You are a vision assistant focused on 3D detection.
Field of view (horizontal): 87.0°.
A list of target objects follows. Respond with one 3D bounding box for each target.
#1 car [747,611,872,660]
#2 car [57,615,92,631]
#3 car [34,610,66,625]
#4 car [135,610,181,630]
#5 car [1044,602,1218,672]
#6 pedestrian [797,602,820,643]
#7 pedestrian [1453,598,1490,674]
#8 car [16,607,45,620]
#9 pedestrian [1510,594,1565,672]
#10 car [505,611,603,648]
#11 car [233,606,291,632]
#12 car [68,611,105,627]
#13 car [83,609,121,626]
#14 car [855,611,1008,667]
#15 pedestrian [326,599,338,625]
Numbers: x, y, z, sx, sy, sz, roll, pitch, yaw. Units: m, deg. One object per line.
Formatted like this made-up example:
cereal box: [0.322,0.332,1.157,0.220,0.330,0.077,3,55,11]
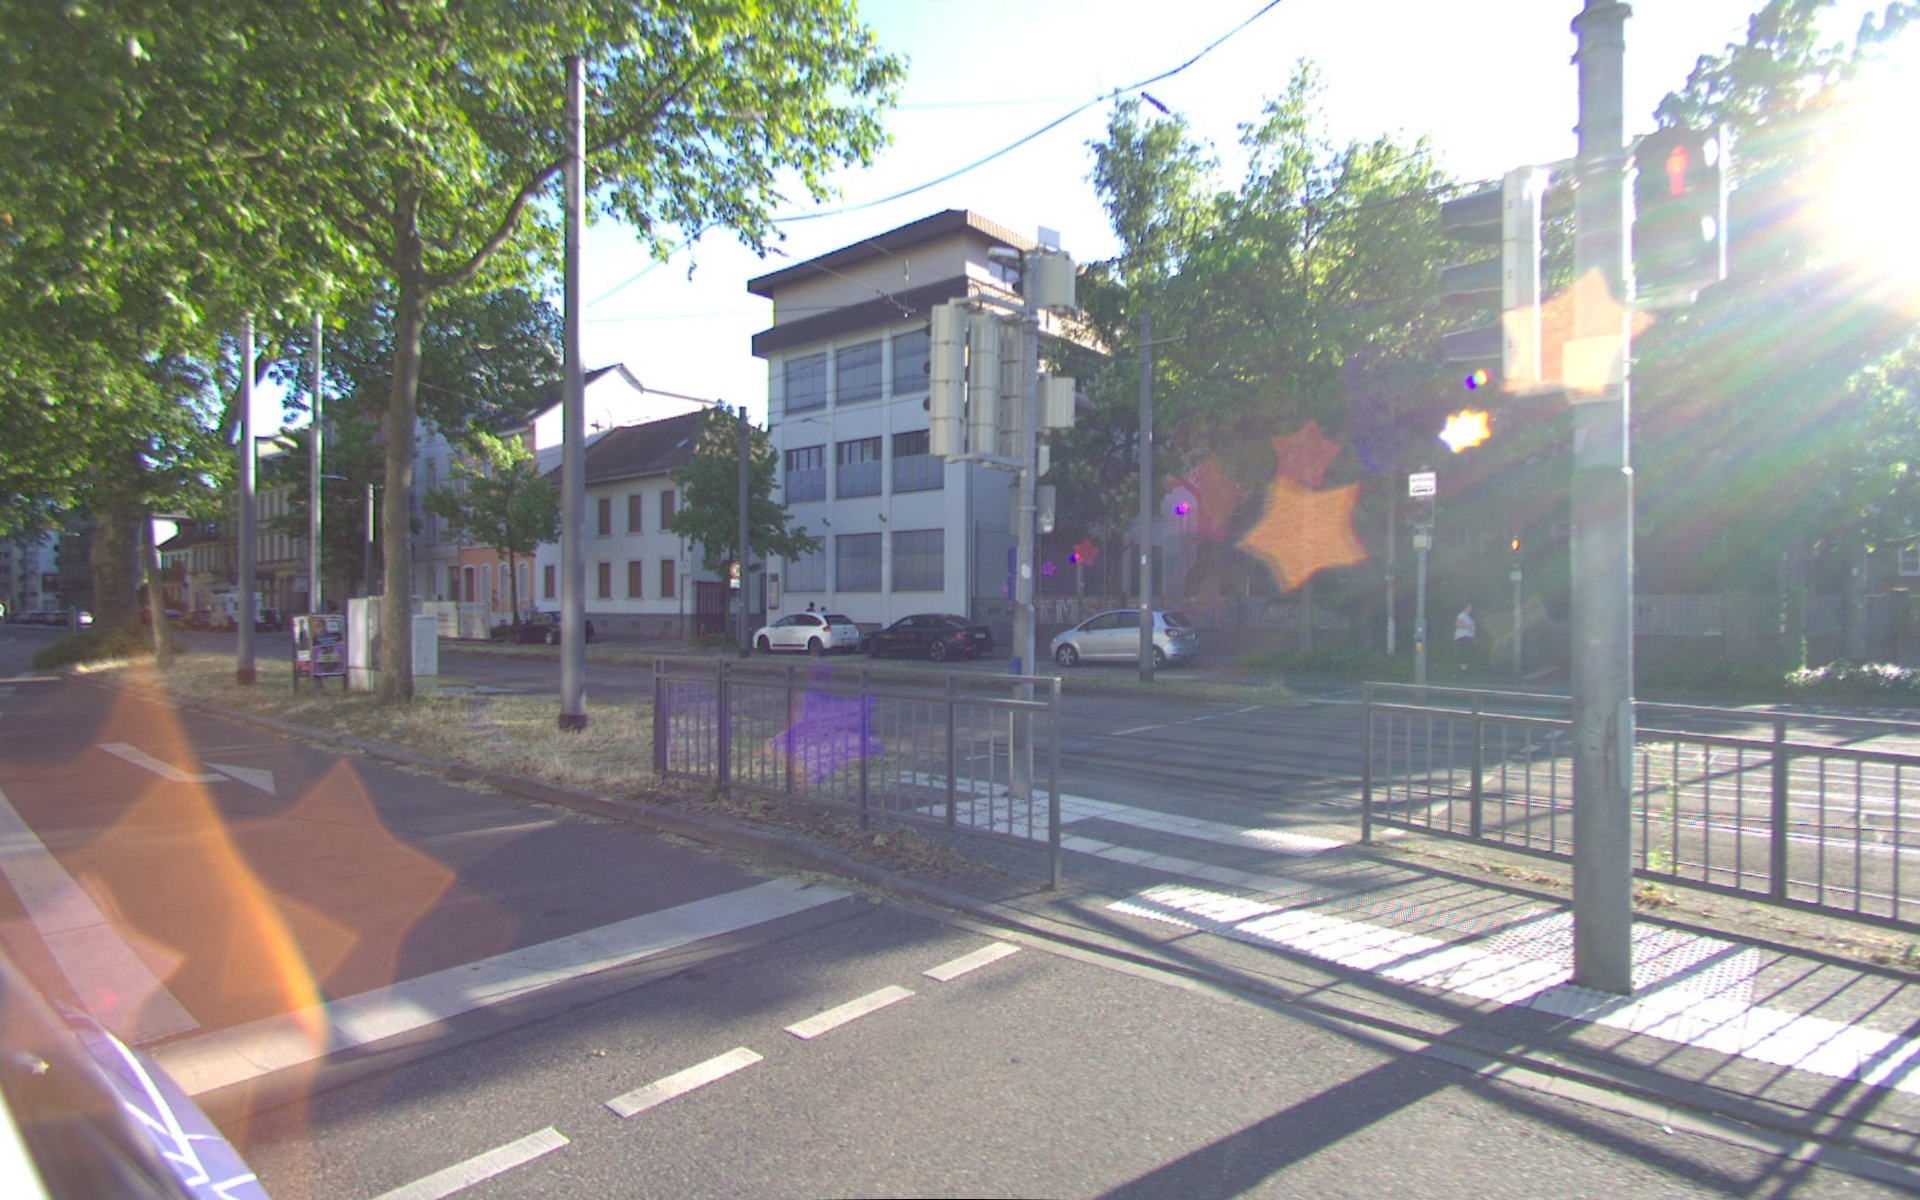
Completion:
car: [-5.224,1.166,34.979,3.991,1.501,2.062,0,2,38]
car: [-96.954,2.494,110.769,4.250,1.551,2.062,0,2,38]
car: [-105.180,1.994,116.989,4.003,1.551,2.062,0,2,38]
car: [-68.221,1.643,86.048,4.510,1.551,2.062,0,2,38]
car: [4.540,0.928,27.075,4.092,1.631,2.062,0,2,38]
pedestrian: [-5.747,0.863,38.411,0.710,1.540,0.531,0,-1,34]
pedestrian: [11.619,0.812,22.983,0.631,1.677,0.562,-1,2,38]
car: [-116.738,1.672,127.088,4.114,1.551,2.062,0,2,38]
pedestrian: [13.356,0.752,23.404,1.018,1.765,0.727,-1,-1,38]
car: [-18.328,1.309,45.622,4.573,1.481,2.062,0,2,38]
car: [-49.880,1.321,72.292,4.526,1.686,2.062,0,2,38]
car: [-89.721,1.957,103.981,4.092,1.551,2.062,0,2,38]
car: [-85.032,1.716,100.297,4.033,1.551,2.062,0,2,38]
car: [-0.920,1.158,31.369,4.451,1.513,2.062,0,2,38]
pedestrian: [-45.057,0.846,72.600,0.704,1.823,0.554,-1,-1,38]
